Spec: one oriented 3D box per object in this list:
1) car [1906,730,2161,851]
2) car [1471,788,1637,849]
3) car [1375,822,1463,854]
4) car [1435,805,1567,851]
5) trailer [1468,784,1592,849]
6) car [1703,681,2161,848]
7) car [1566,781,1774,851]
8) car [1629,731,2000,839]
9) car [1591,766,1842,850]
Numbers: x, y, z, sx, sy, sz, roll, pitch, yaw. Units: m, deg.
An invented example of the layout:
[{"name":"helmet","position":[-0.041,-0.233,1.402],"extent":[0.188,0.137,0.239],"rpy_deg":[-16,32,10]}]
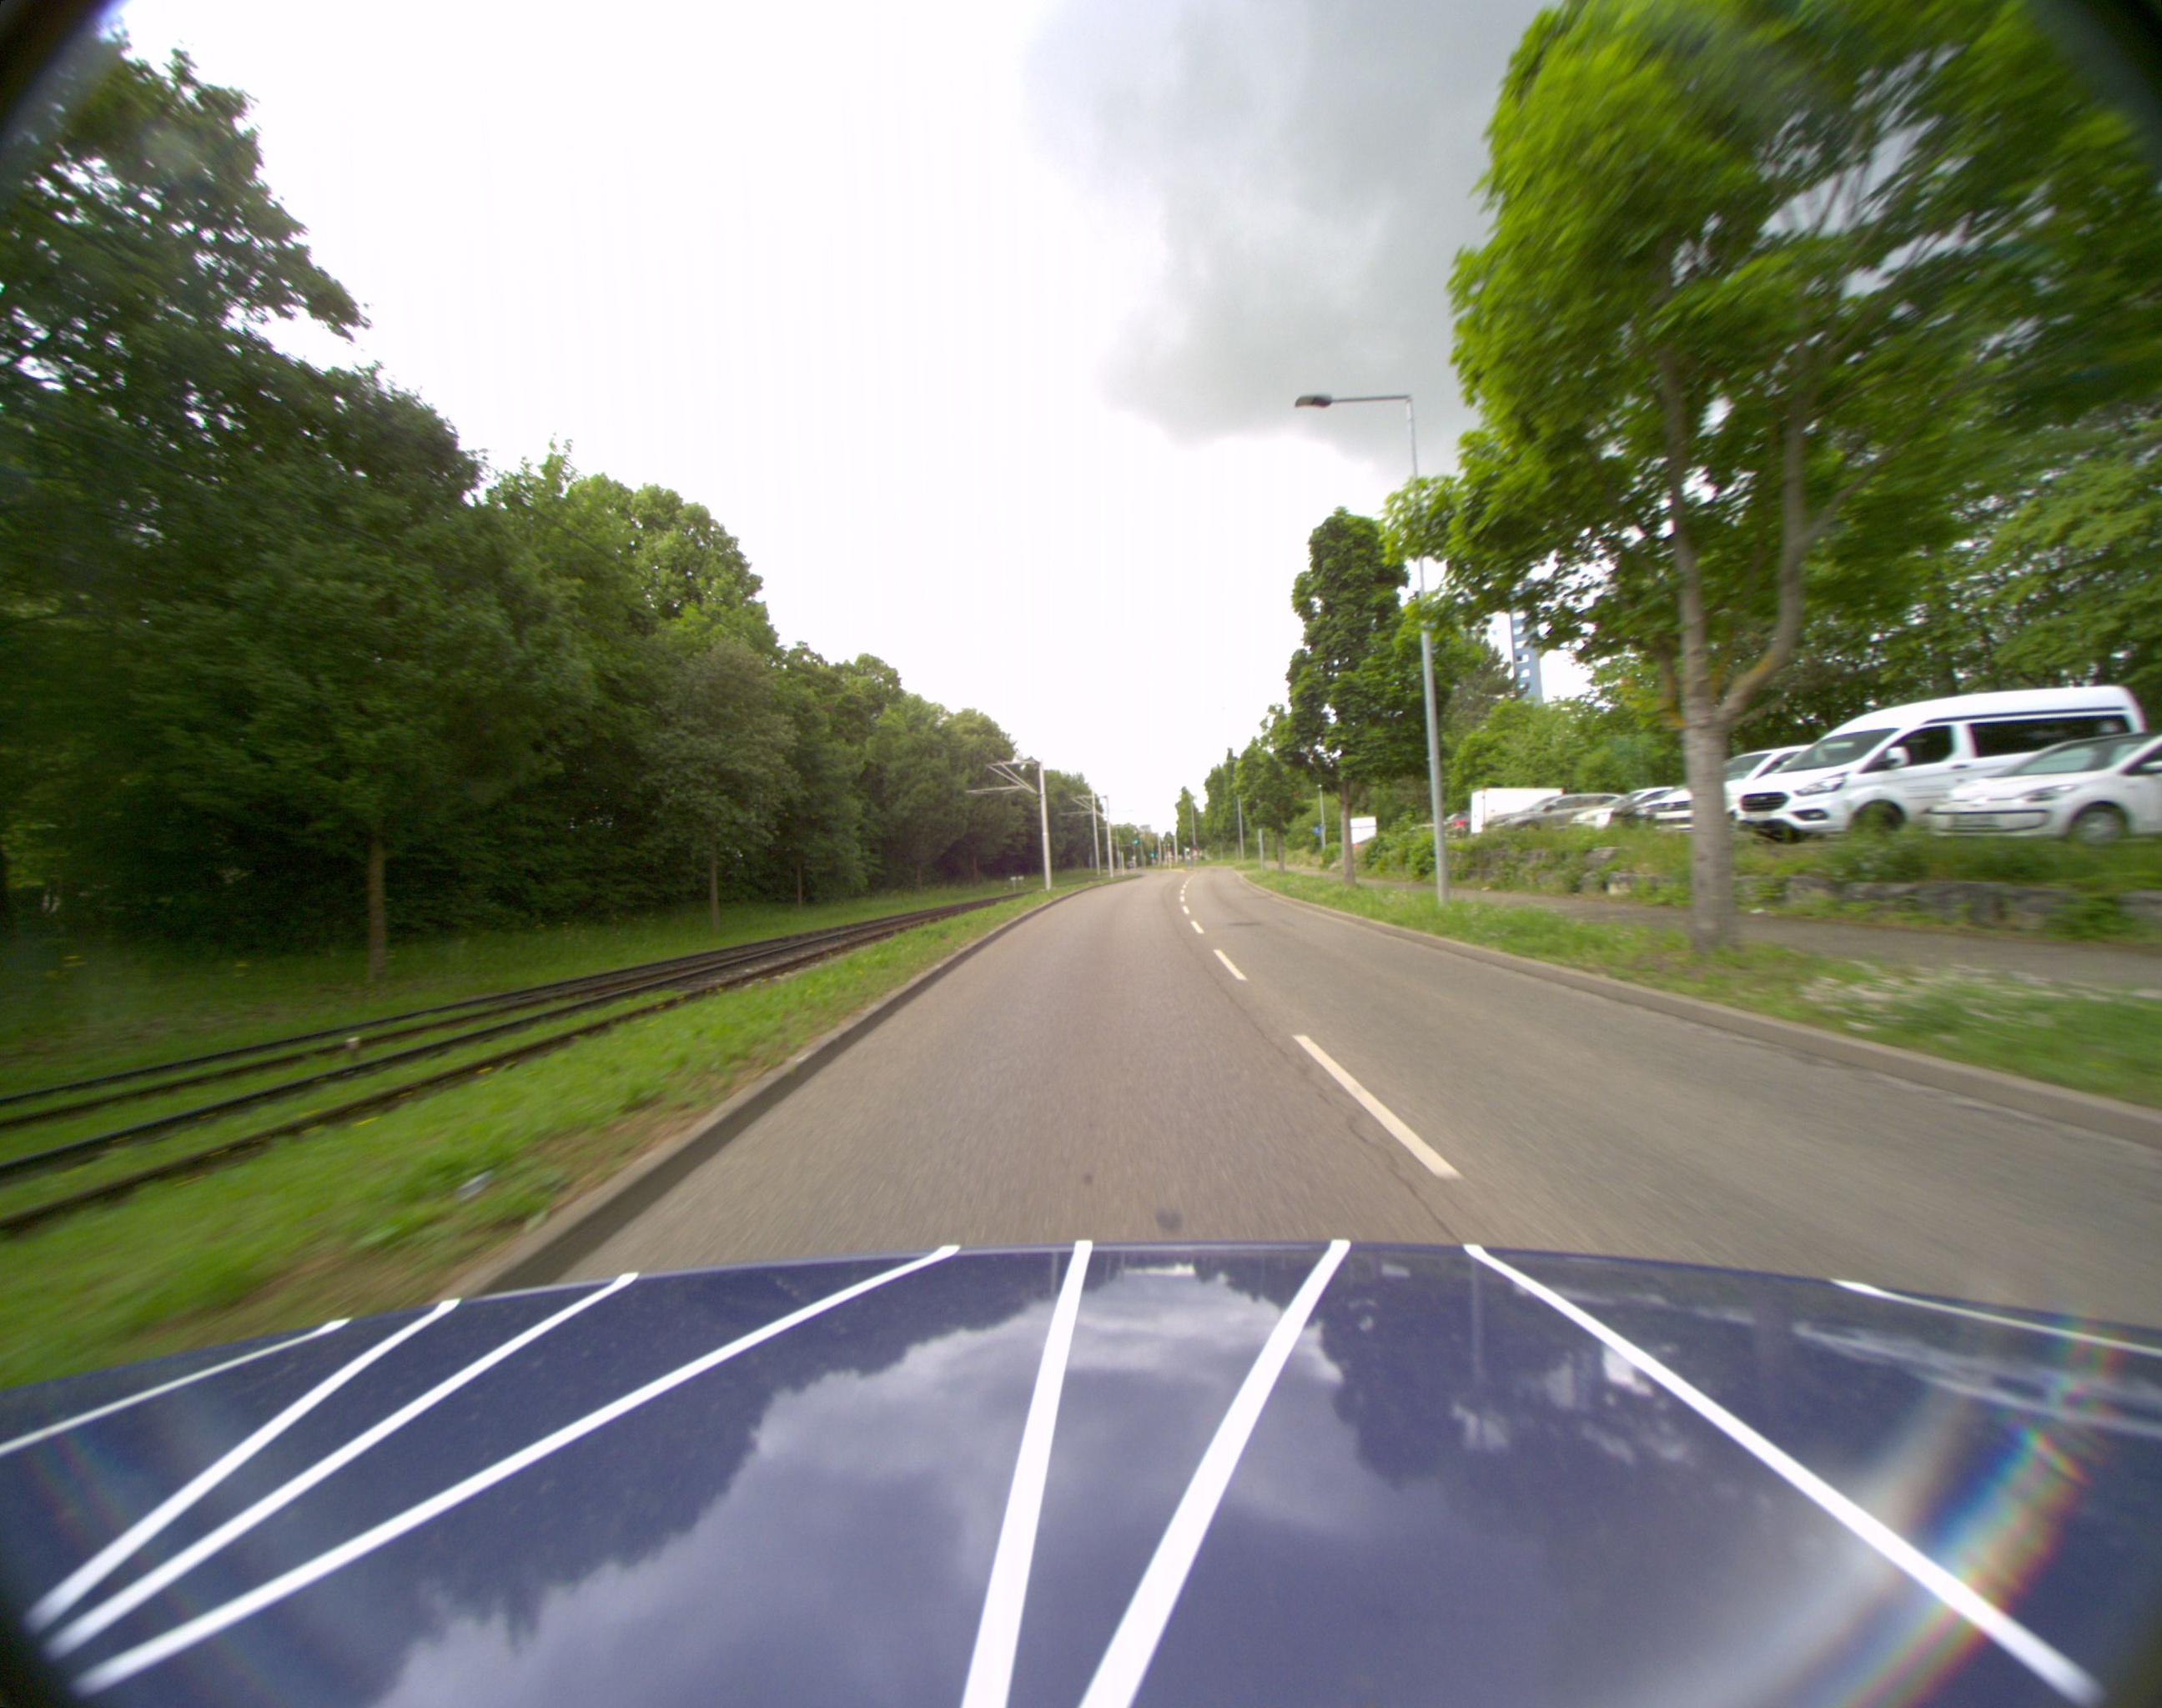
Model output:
[{"name":"car","position":[13.573,-0.855,9.526],"extent":[4.386,1.308,1.564],"rpy_deg":[-4,0,6]},{"name":"car","position":[15.256,-1.103,24.740],"extent":[4.041,1.574,2.002],"rpy_deg":[-4,-1,11]},{"name":"car","position":[18.677,-0.871,42.163],"extent":[4.041,1.409,2.002],"rpy_deg":[-4,-1,10]},{"name":"car","position":[16.302,-0.965,29.706],"extent":[4.041,1.409,2.002],"rpy_deg":[-4,-1,11]},{"name":"trailer","position":[15.954,-1.290,27.166],"extent":[3.372,2.046,1.679],"rpy_deg":[-3,0,11]},{"name":"car","position":[13.937,-1.340,12.571],"extent":[5.167,2.094,2.216],"rpy_deg":[-4,0,6]},{"name":"car","position":[15.825,-0.974,20.639],"extent":[4.041,1.502,1.782],"rpy_deg":[-4,0,11]},{"name":"car","position":[14.483,-1.292,15.375],"extent":[5.003,1.538,2.099],"rpy_deg":[-4,-1,11]},{"name":"car","position":[14.900,-1.025,18.080],"extent":[4.041,1.538,2.002],"rpy_deg":[-4,-1,11]}]
